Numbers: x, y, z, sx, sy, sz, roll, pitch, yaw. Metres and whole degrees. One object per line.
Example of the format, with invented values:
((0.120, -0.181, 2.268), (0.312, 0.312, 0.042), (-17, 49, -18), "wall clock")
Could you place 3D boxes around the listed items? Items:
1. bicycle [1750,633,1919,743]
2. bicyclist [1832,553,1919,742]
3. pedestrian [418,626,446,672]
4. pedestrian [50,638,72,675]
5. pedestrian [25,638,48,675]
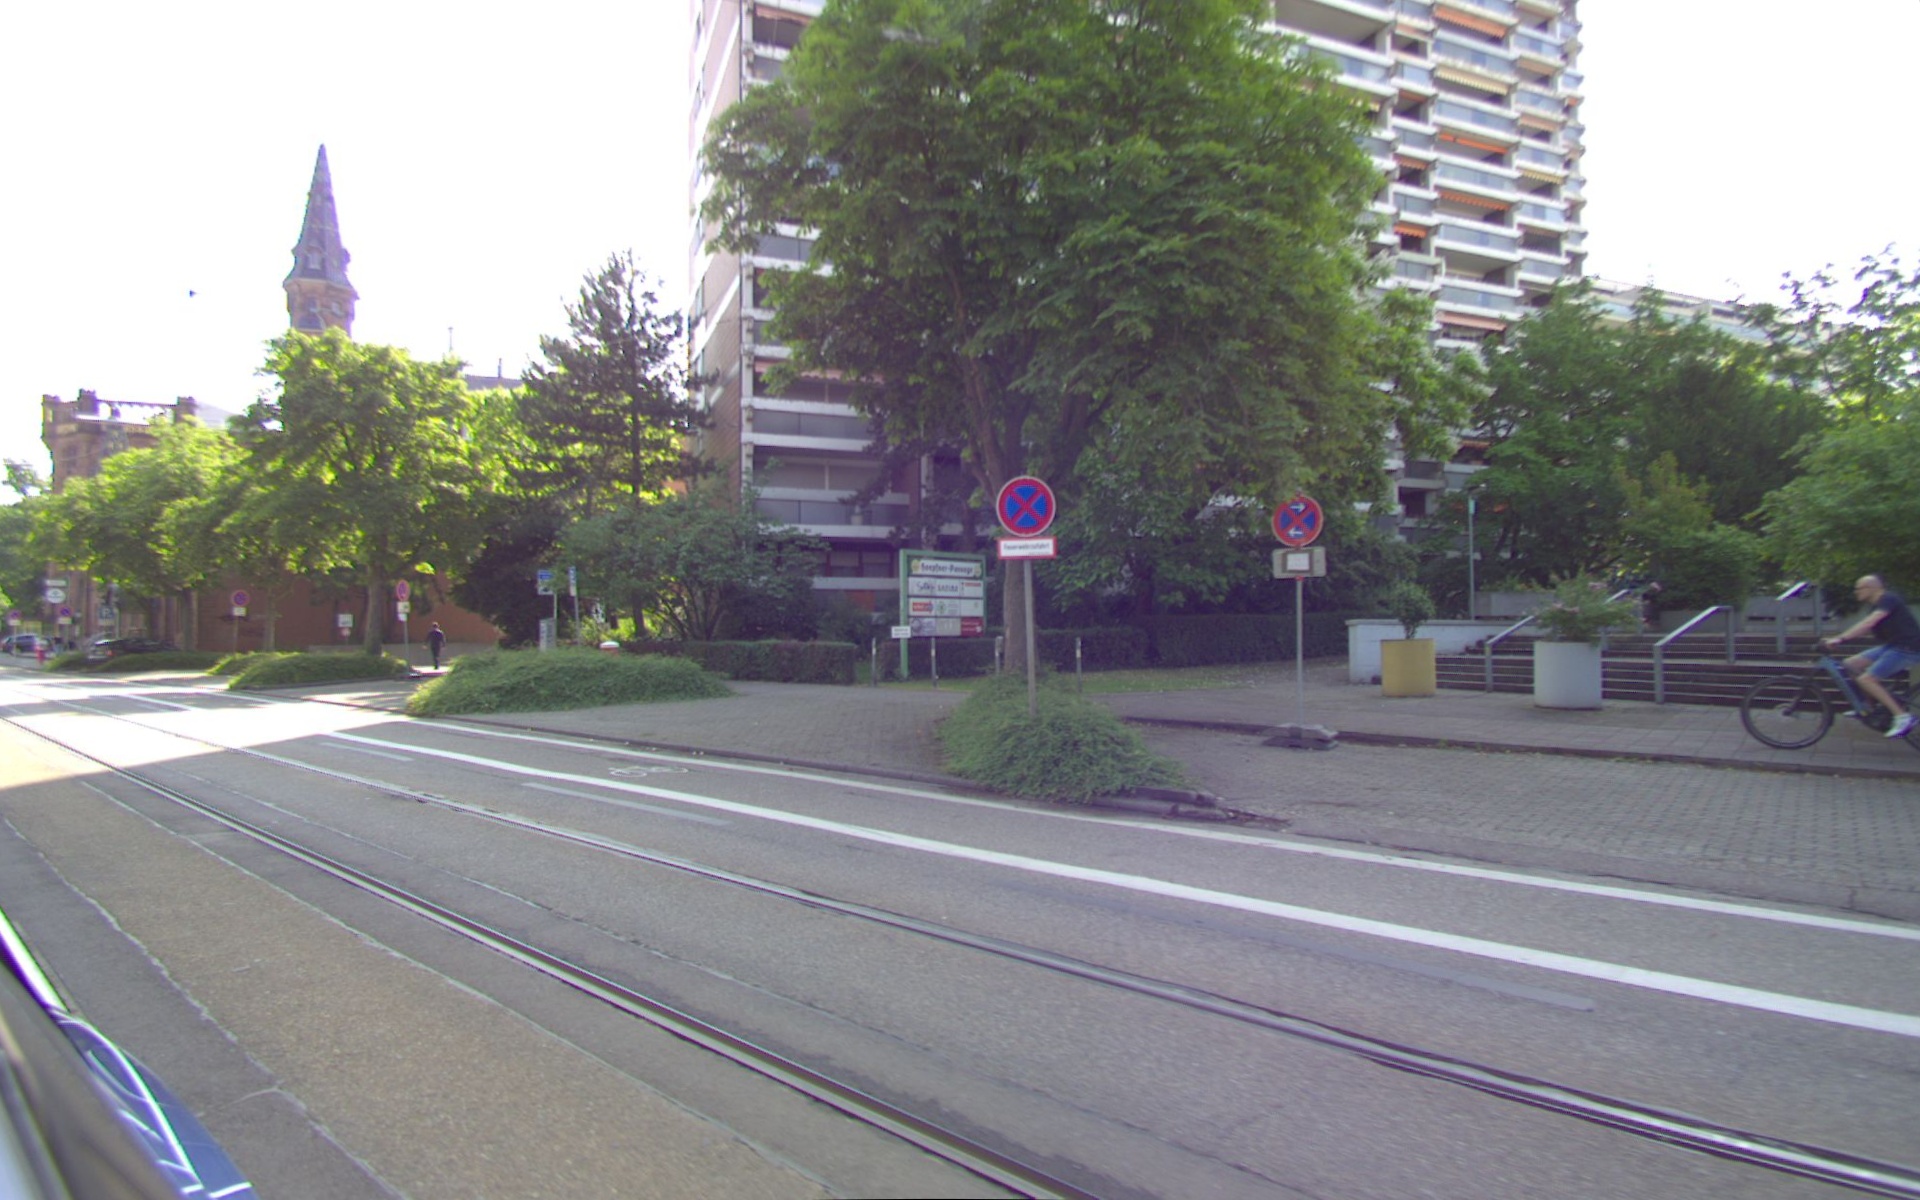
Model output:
((8.938, 0.836, 9.815), (1.982, 0.987, 0.561), (-1, 0, 41), "bicycle")
((8.959, 0.438, 9.782), (0.781, 1.753, 0.716), (-1, 0, 41), "bicyclist")
((-19.571, 1.811, 37.508), (0.754, 1.642, 0.739), (-1, 0, -40), "pedestrian")
((-52.095, 3.257, 58.651), (1.057, 2.029, 0.892), (-1, 0, 44), "pedestrian")
((-52.727, 3.205, 57.802), (1.057, 2.029, 0.892), (-1, 0, 44), "pedestrian")
